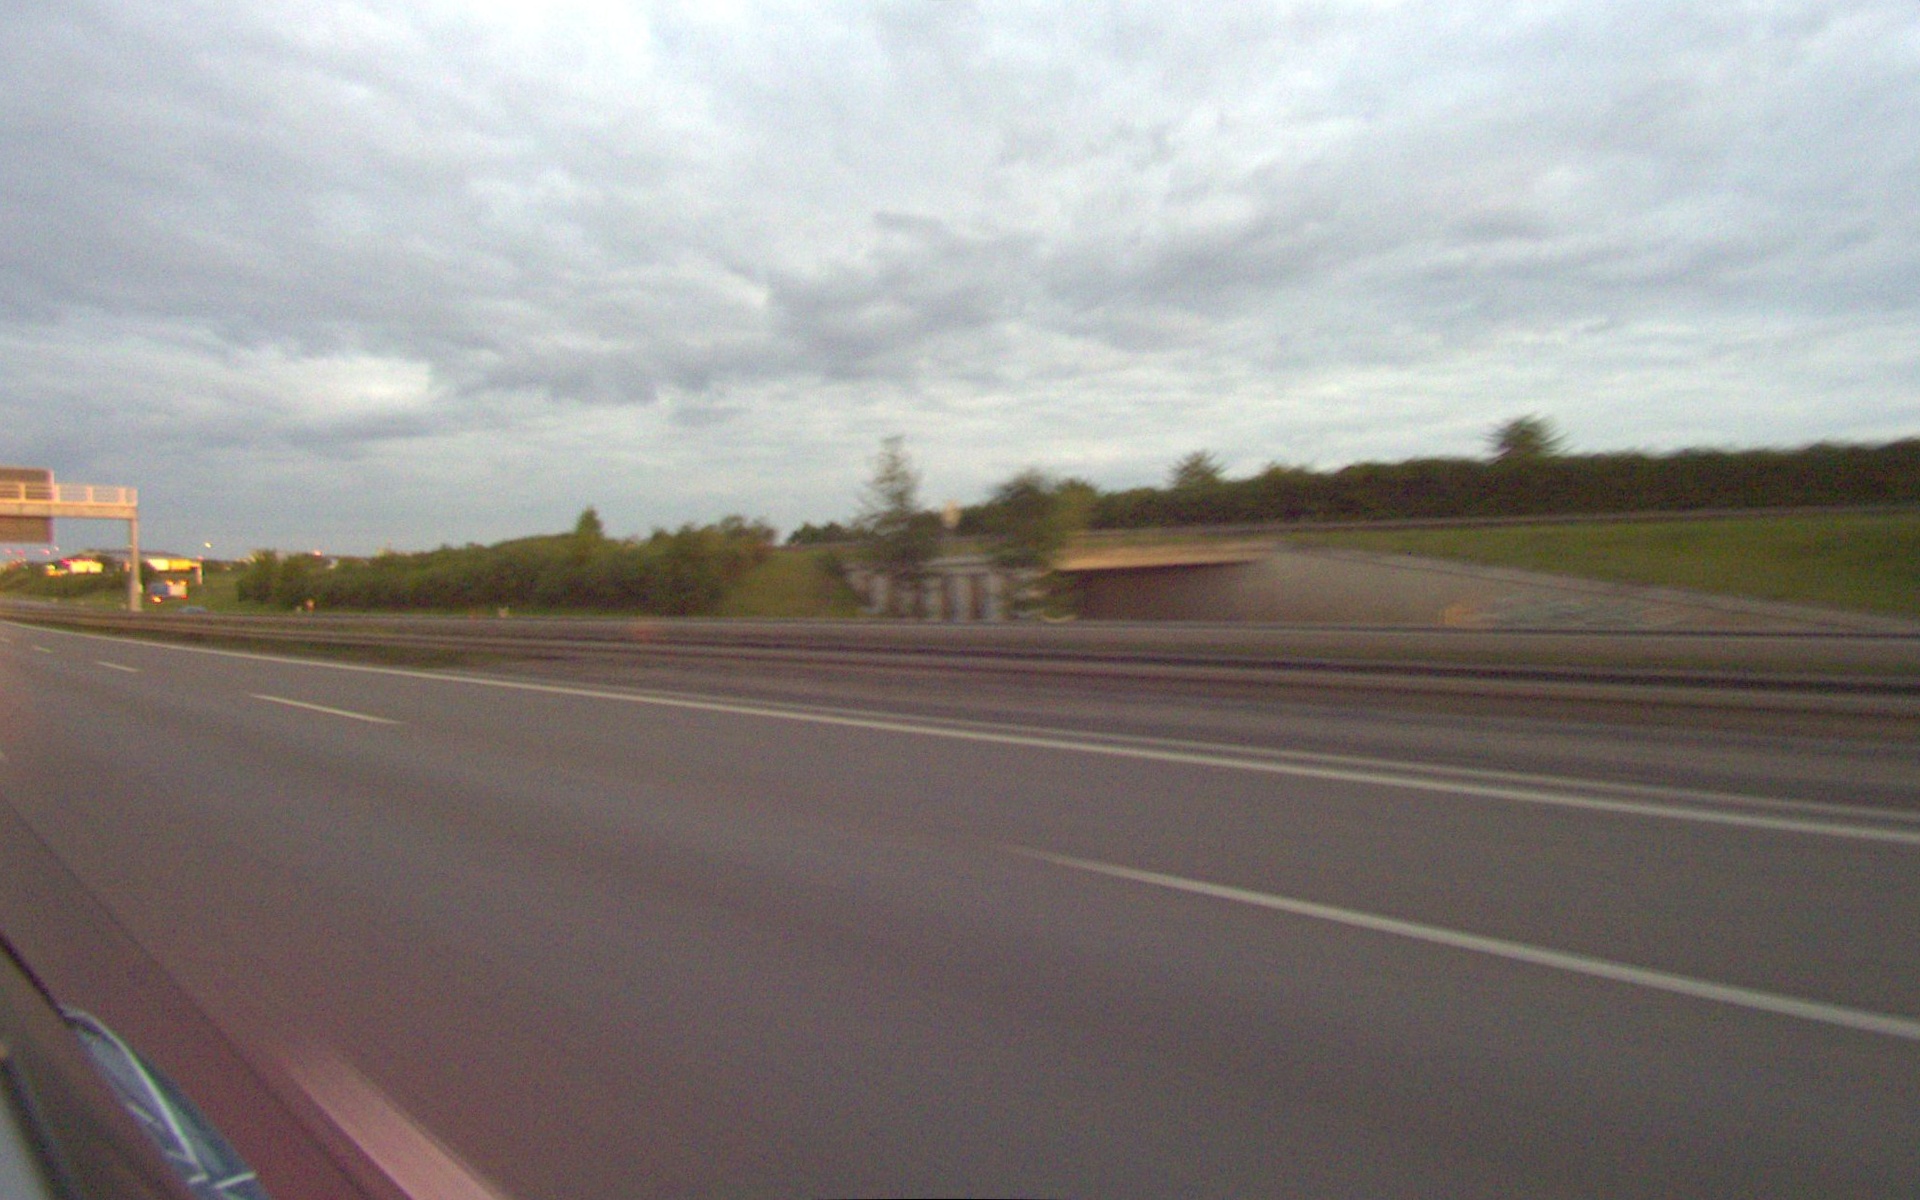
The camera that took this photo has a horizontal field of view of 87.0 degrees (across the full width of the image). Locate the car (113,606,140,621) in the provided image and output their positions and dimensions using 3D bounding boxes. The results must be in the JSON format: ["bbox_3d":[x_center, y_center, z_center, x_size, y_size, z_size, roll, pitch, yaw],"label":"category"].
[{"bbox_3d":[-89.007,1.440,108.063,4.430,1.411,1.671,1,4,43],"label":"car"}]

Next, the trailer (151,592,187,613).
[{"bbox_3d":[-160.906,0.584,205.852,12.473,4.101,2.665,-1,1,38],"label":"trailer"}]

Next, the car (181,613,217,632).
[{"bbox_3d":[-64.488,1.904,85.747,4.430,1.411,1.671,1,4,43],"label":"car"}]
